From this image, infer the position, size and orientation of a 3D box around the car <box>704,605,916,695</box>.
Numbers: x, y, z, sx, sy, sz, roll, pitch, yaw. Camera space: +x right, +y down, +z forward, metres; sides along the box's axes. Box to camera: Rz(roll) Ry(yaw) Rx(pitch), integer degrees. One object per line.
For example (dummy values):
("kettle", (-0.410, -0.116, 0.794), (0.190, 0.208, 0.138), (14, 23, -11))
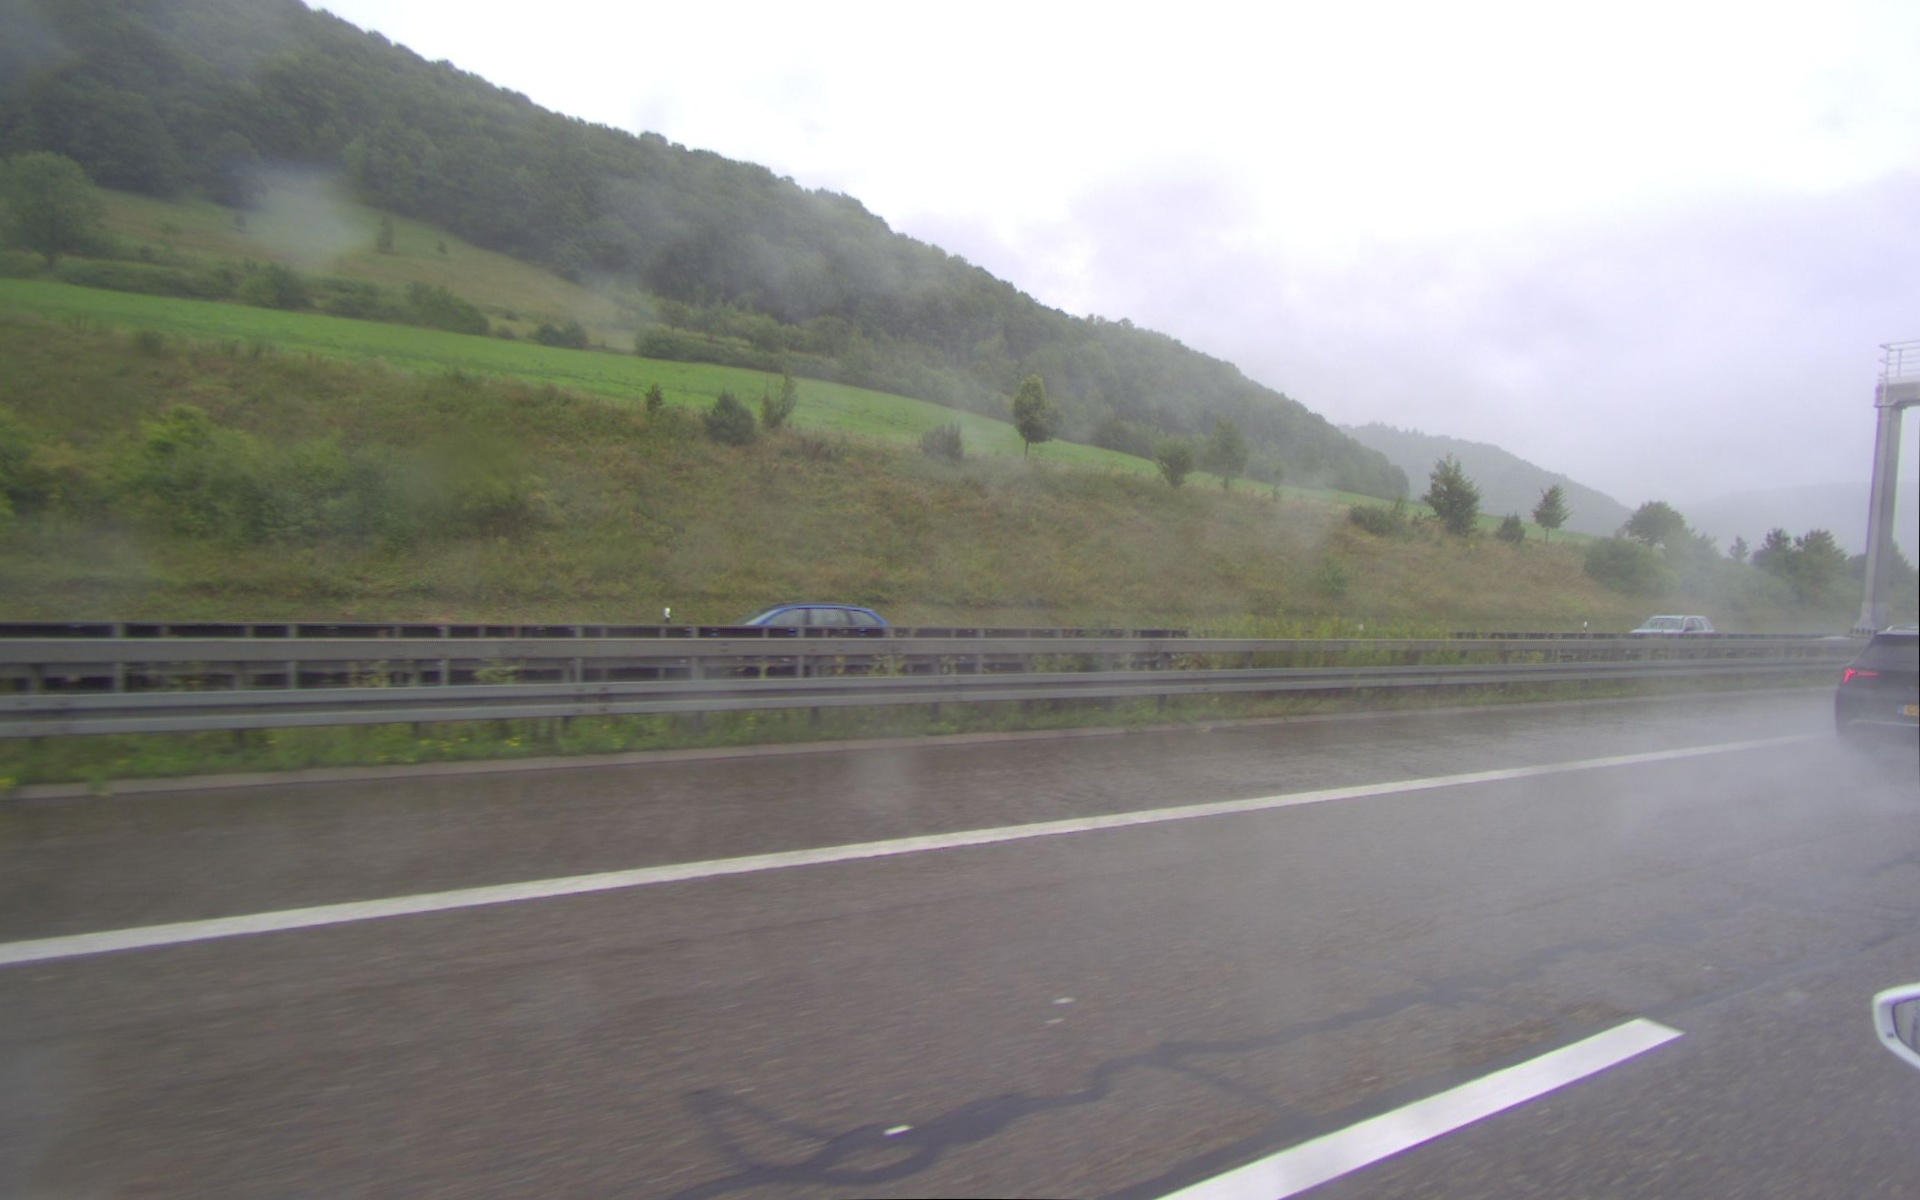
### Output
("car", (-3.051, 0.992, 20.573), (3.952, 1.669, 1.699), (1, 0, -29))

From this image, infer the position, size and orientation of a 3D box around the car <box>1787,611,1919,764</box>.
("car", (11.802, 0.971, 11.785), (4.745, 1.536, 2.386), (1, 1, -40))
